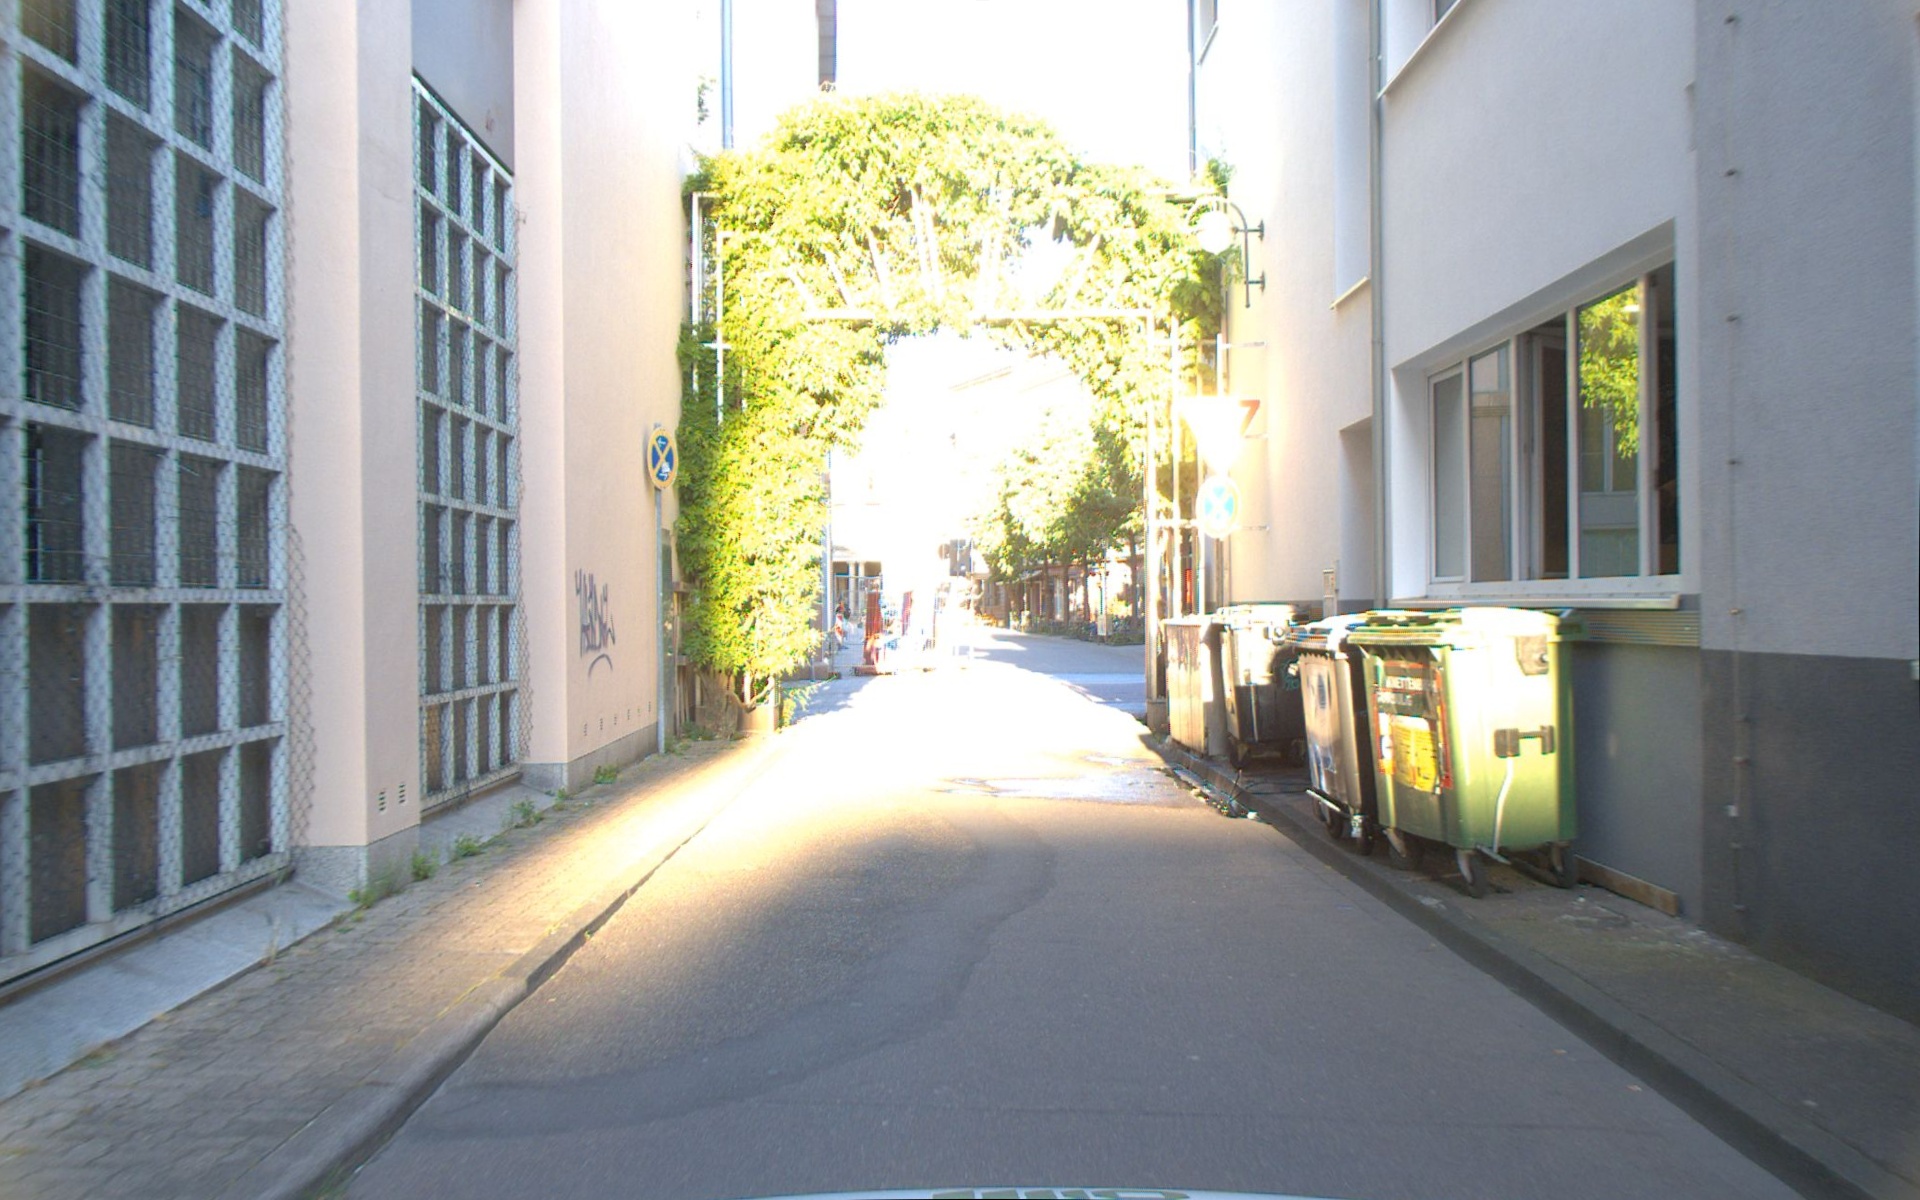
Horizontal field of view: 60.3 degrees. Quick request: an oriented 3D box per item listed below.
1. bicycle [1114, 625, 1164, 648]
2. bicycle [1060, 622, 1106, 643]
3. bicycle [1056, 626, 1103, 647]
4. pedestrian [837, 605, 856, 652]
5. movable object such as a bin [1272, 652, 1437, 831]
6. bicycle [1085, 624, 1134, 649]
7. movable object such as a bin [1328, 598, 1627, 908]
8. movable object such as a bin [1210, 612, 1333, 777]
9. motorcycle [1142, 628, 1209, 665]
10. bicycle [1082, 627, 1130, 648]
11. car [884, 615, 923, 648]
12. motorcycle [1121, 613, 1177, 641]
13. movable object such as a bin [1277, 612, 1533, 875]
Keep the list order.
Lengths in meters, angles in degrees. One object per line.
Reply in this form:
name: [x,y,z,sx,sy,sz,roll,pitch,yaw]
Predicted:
bicycle: [7.816,1.577,72.163,2.119,0.942,0.588,-1,-2,-18]
bicycle: [5.829,1.552,78.433,2.113,0.942,0.589,-1,-2,-10]
bicycle: [5.595,1.719,77.517,2.113,0.942,0.589,-1,-2,-10]
pedestrian: [-4.457,1.111,64.862,0.641,1.795,0.634,-1,-1,3]
movable object such as a bin: [2.614,0.922,11.024,0.851,1.093,0.738,-3,-1,-3]
bicycle: [6.686,1.644,74.203,2.107,1.080,0.591,-2,-2,12]
movable object such as a bin: [2.571,0.714,8.392,0.919,1.390,1.340,-3,0,-7]
movable object such as a bin: [2.700,0.795,14.450,0.818,1.327,1.290,-3,0,2]
motorcycle: [7.145,1.530,54.930,2.111,1.171,0.493,-1,-2,-5]
bicycle: [6.752,1.727,76.590,2.113,0.942,0.589,-1,-2,-10]
car: [-3.081,1.718,90.140,1.807,1.713,3.639,-1,-1,-7]
motorcycle: [8.156,1.159,71.230,2.439,1.114,0.586,-1,-2,-25]
movable object such as a bin: [2.584,0.796,9.797,1.043,1.390,1.341,-3,0,-3]
